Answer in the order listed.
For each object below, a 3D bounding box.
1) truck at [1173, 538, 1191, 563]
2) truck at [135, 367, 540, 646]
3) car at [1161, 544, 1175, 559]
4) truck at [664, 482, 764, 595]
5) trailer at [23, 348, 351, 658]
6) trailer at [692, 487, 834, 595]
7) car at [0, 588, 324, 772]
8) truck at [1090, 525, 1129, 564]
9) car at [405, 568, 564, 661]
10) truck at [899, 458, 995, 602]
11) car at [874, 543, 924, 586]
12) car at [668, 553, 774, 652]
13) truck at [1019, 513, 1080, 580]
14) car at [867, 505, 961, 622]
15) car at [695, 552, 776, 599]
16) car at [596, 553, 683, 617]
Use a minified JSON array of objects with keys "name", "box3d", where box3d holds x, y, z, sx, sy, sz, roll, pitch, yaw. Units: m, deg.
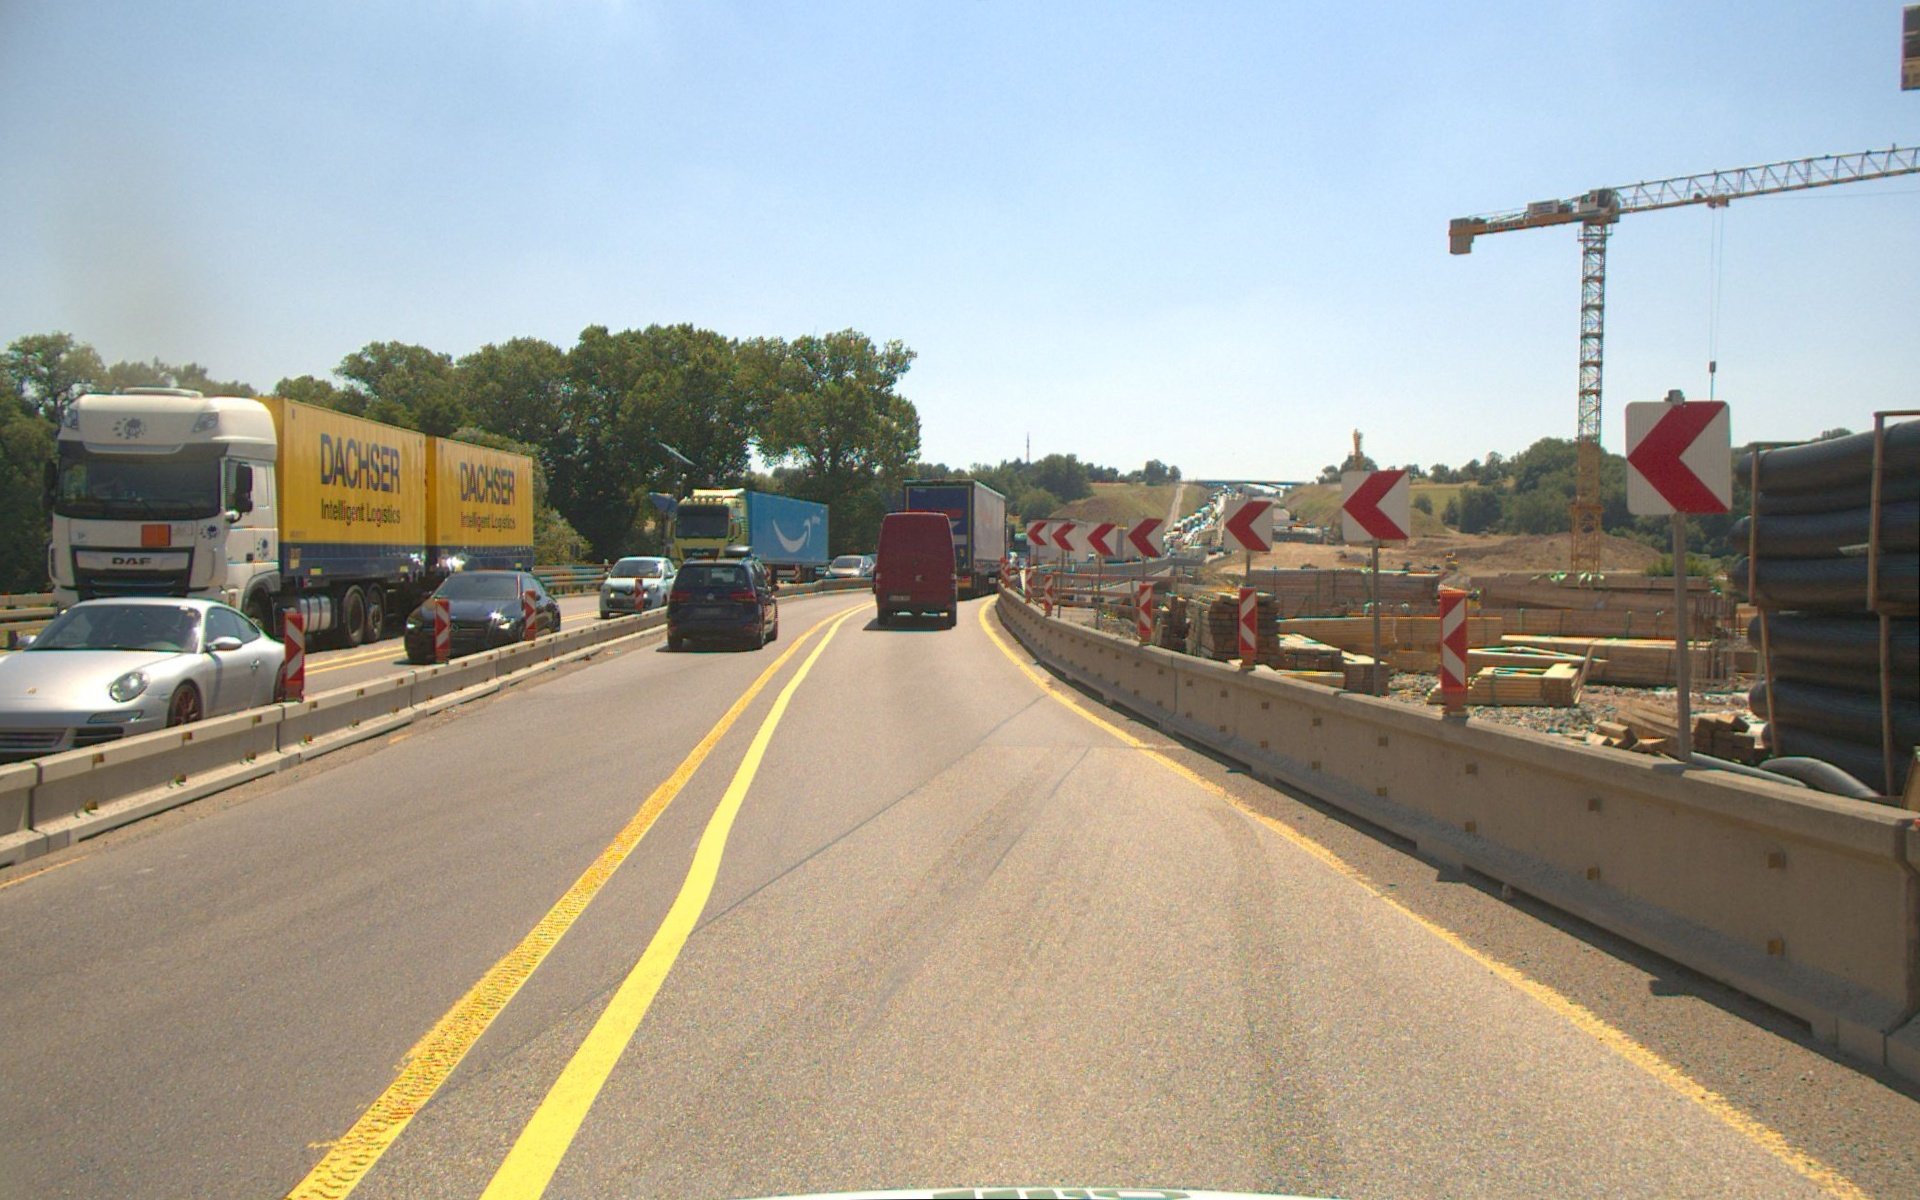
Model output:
[{"name":"truck","box3d":[29.382,-6.550,218.762,2.242,3.252,6.489,0,2,8]},{"name":"truck","box3d":[-11.946,-1.618,34.231,2.750,4.418,15.373,1,1,-1]},{"name":"car","box3d":[24.930,-5.854,198.251,1.583,1.729,3.893,1,2,8]},{"name":"truck","box3d":[-9.871,-2.426,66.766,2.569,4.344,4.736,2,1,9]},{"name":"trailer","box3d":[-11.770,-1.379,25.754,2.808,4.303,5.216,1,0,-3]},{"name":"trailer","box3d":[-8.601,-2.484,74.444,2.591,4.367,13.321,2,1,9]},{"name":"car","box3d":[-7.161,0.589,14.603,1.643,1.286,4.333,1,1,-4]},{"name":"truck","box3d":[14.221,-5.224,156.794,3.115,3.029,8.905,1,-2,9]},{"name":"car","box3d":[-7.926,0.190,27.939,1.643,1.385,4.500,1,1,-4]},{"name":"truck","box3d":[-0.383,-2.556,61.514,2.882,5.031,6.746,1,1,5]},{"name":"car","box3d":[-2.520,-1.451,68.752,1.796,1.664,4.390,1,0,1]},{"name":"car","box3d":[-4.544,-0.015,31.952,1.700,1.663,4.387,1,3,-4]},{"name":"truck","box3d":[5.762,-3.386,105.294,3.114,4.059,6.748,1,1,9]},{"name":"car","box3d":[-1.223,-0.844,41.182,2.107,2.656,5.435,2,0,-3]},{"name":"car","box3d":[-7.512,-0.872,55.734,1.782,1.460,4.586,1,2,4]},{"name":"car","box3d":[-8.309,-0.431,43.126,1.603,1.511,4.000,1,2,-2]}]
